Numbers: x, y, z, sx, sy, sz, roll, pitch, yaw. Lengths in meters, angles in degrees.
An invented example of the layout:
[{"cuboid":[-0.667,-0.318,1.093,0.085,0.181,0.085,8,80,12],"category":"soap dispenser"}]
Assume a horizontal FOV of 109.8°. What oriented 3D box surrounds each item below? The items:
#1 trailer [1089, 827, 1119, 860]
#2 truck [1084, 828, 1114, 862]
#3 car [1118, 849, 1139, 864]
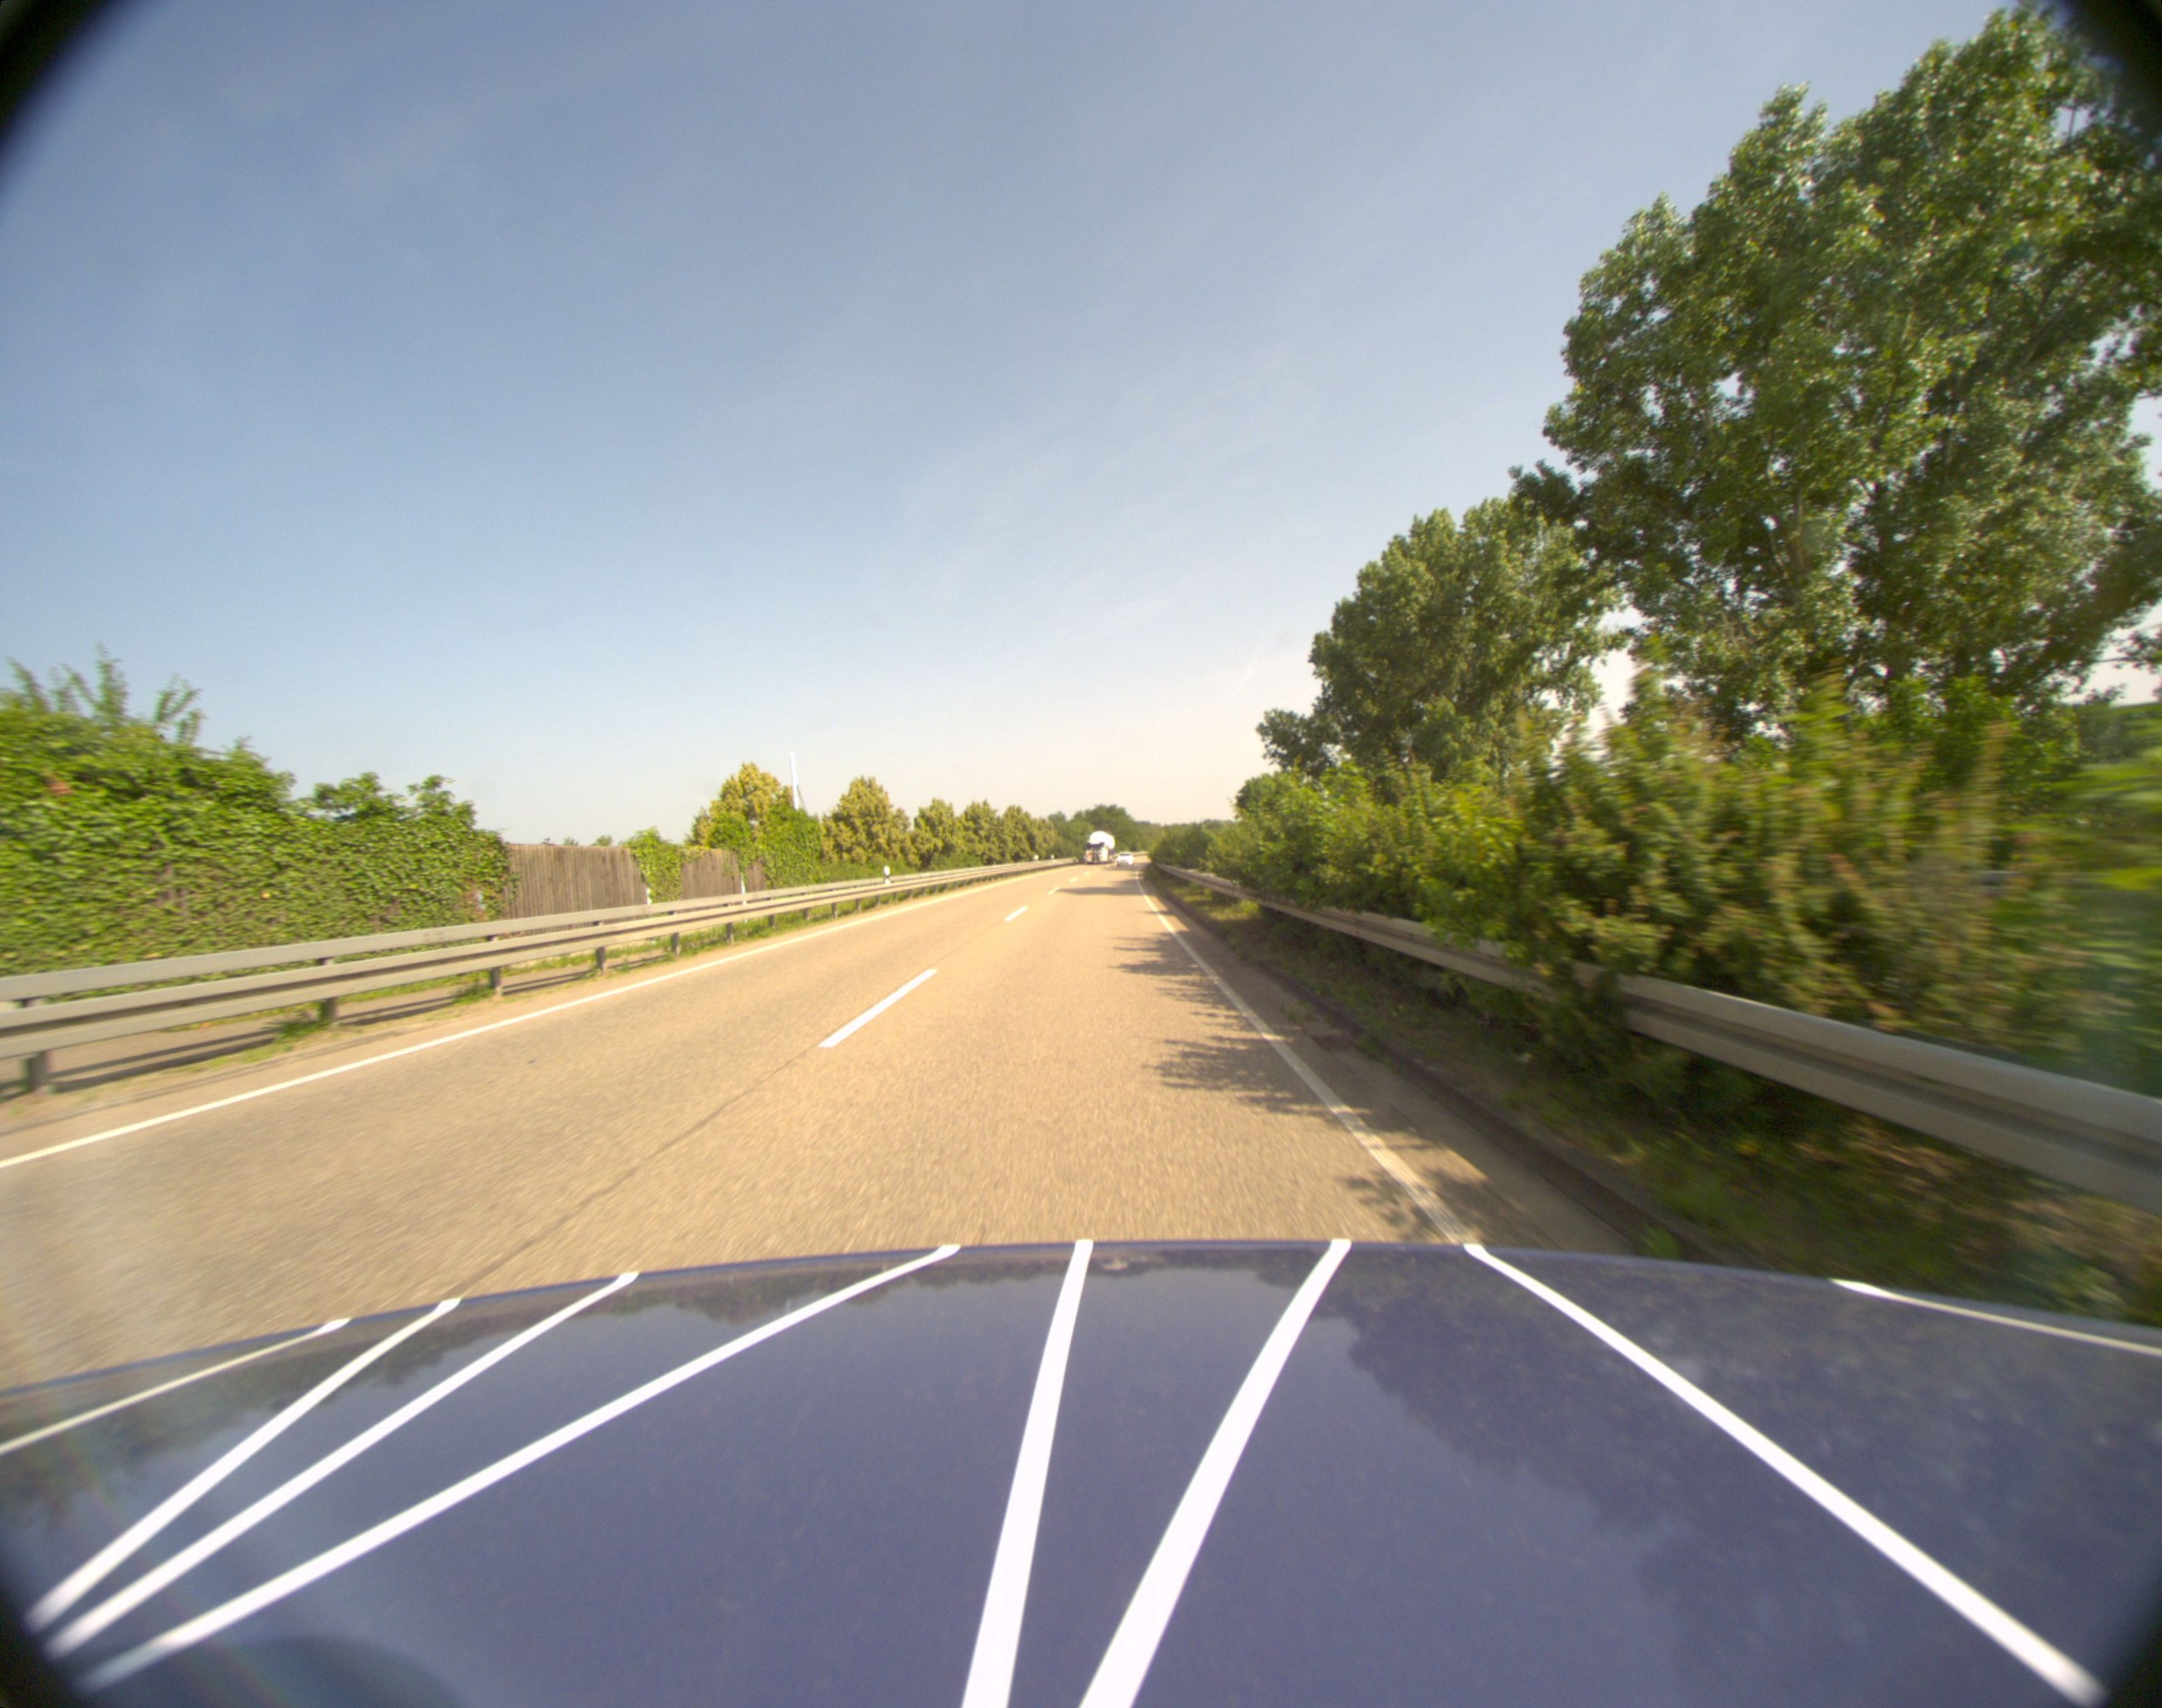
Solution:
[{"cuboid":[3.070,-1.377,97.213,2.762,3.969,8.190,-2,1,8],"category":"trailer"},{"cuboid":[2.253,-1.112,91.690,2.777,3.939,5.630,-2,1,9],"category":"truck"},{"cuboid":[5.141,0.236,82.304,1.788,1.428,4.002,-2,1,9],"category":"car"}]
